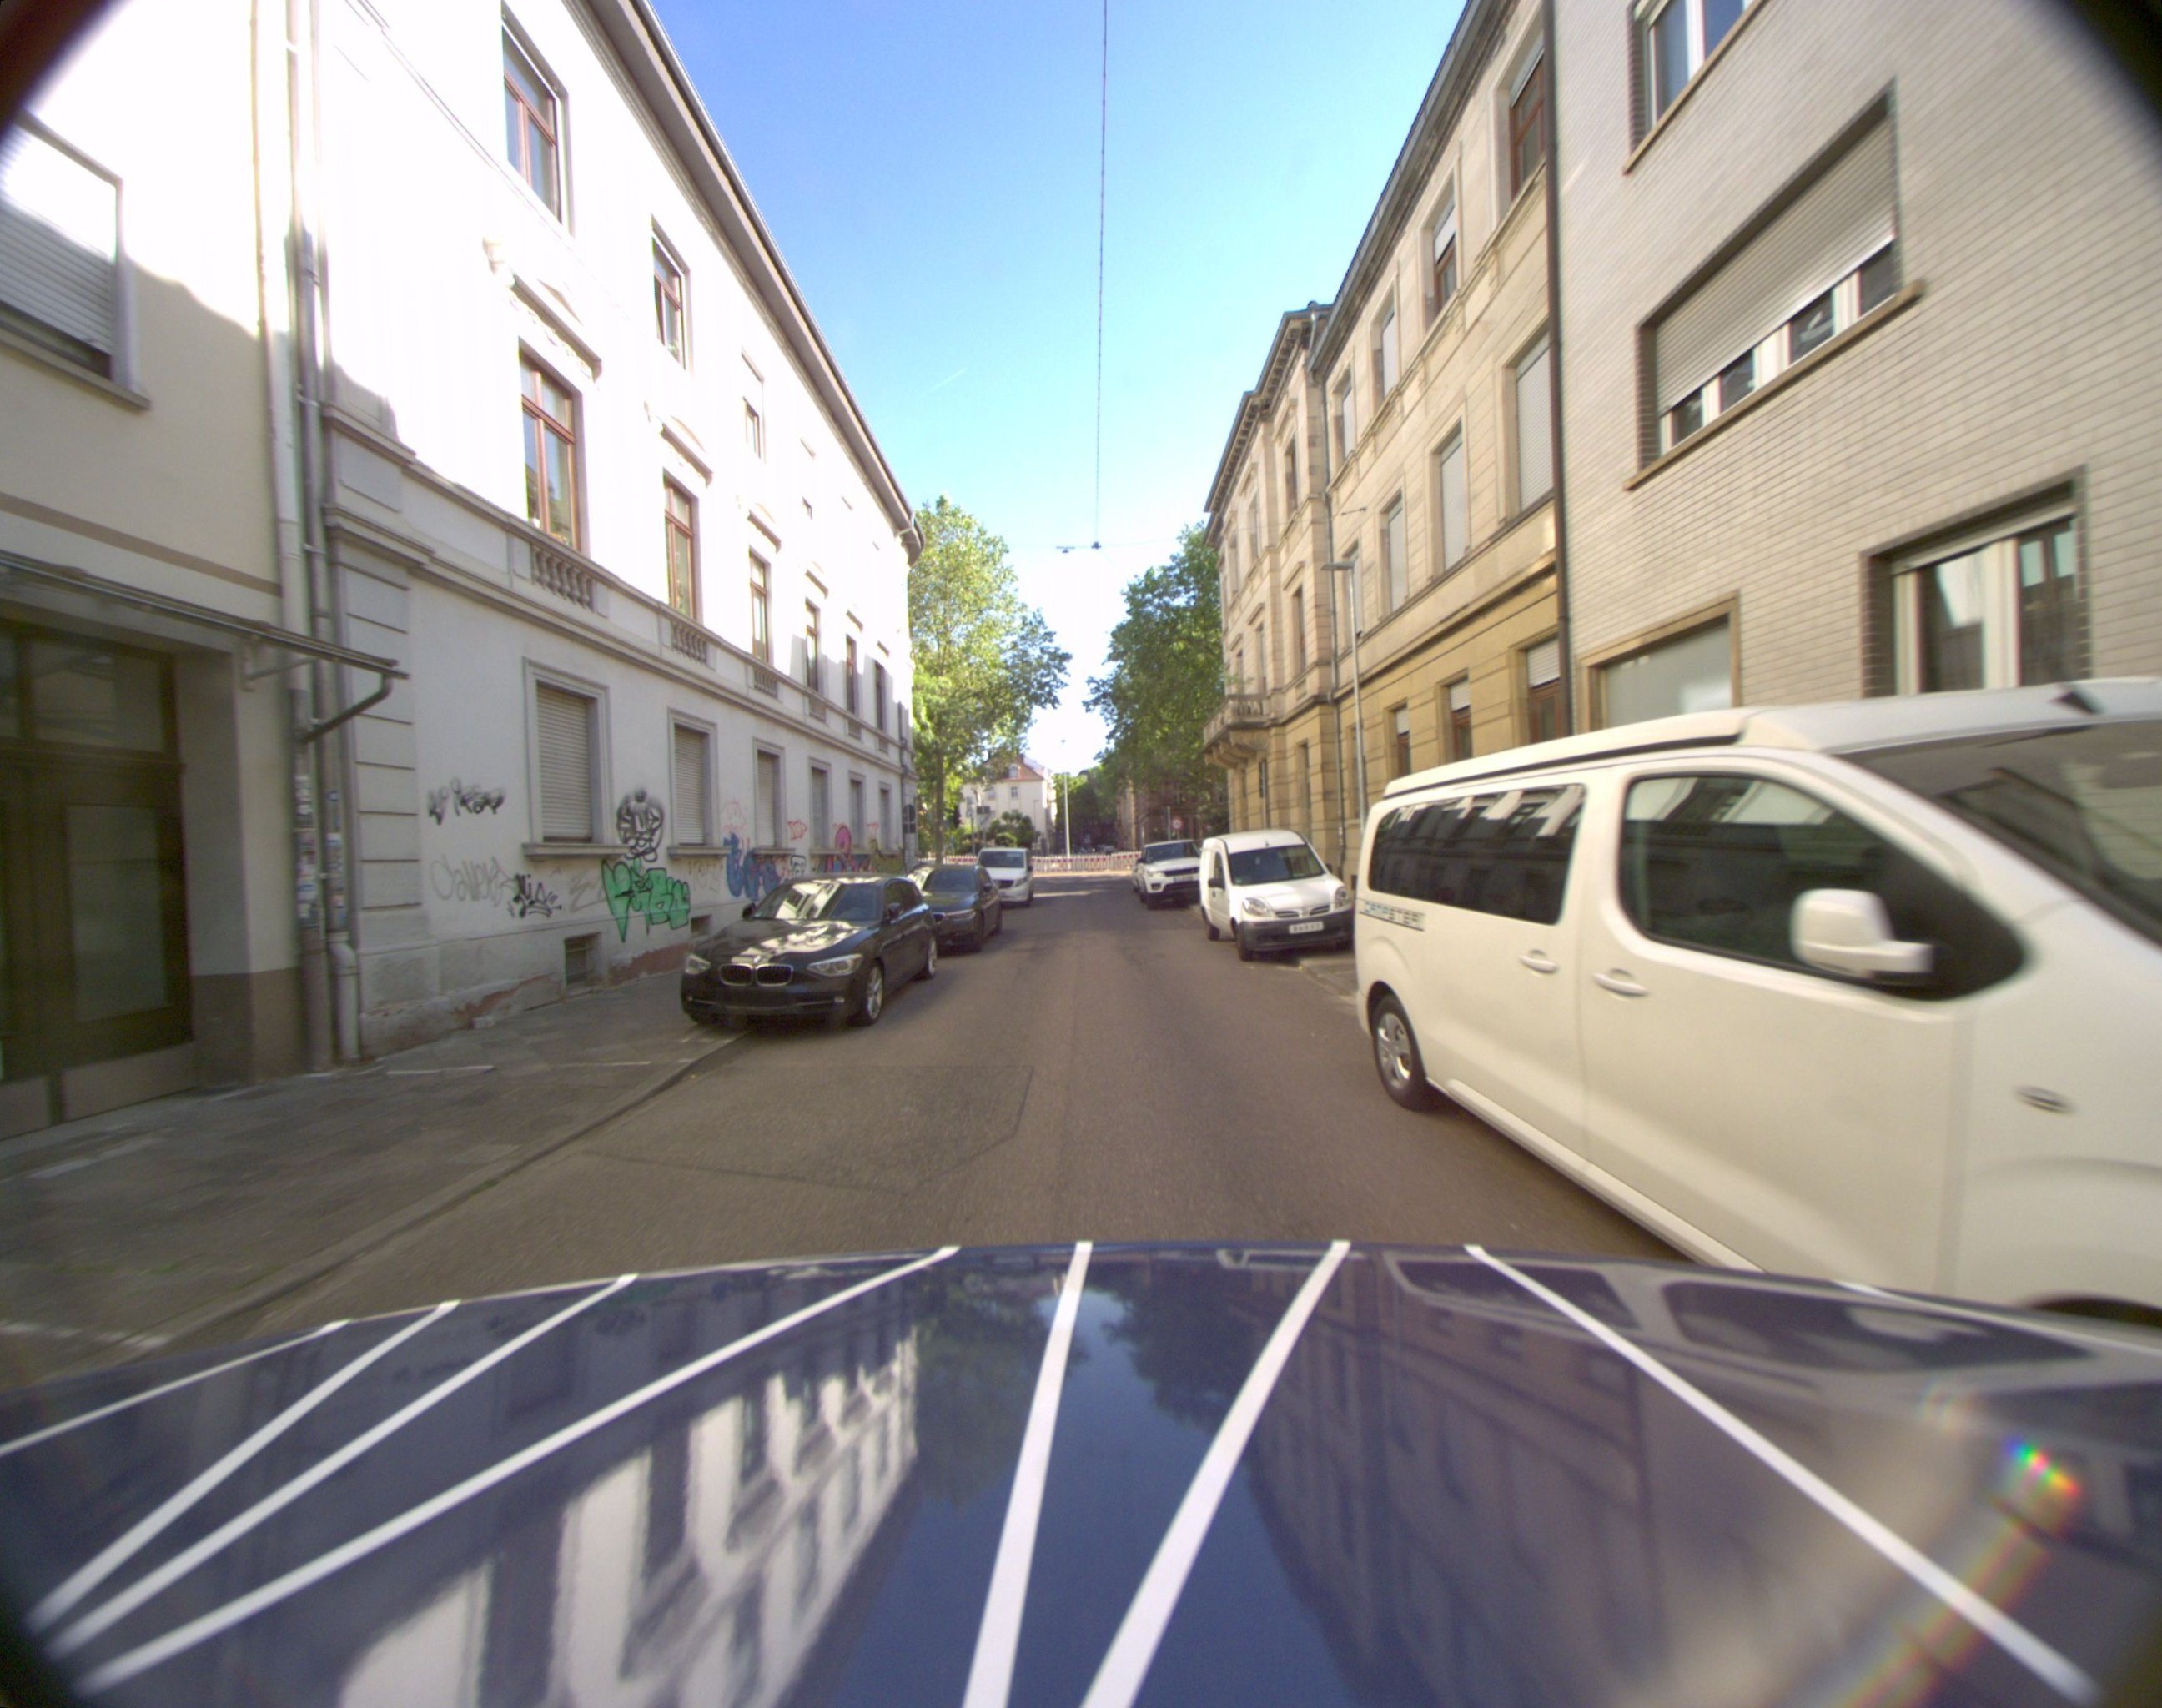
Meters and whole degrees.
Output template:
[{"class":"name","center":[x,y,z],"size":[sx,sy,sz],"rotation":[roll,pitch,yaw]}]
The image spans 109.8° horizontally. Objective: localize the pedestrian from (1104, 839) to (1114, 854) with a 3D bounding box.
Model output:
[{"class":"pedestrian","center":[3.222,-0.852,86.405],"size":[0.761,1.651,0.826],"rotation":[-2,1,-27]}]

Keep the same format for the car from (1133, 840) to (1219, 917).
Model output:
[{"class":"car","center":[2.688,0.623,22.528],"size":[2.027,2.002,4.543],"rotation":[-2,1,1]}]

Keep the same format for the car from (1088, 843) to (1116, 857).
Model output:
[{"class":"car","center":[2.842,-0.571,102.689],"size":[3.800,1.726,1.622],"rotation":[-1,0,0]}]

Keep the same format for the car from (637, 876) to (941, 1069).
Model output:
[{"class":"car","center":[-2.844,1.068,8.413],"size":[1.751,1.440,3.869],"rotation":[-4,0,1]}]

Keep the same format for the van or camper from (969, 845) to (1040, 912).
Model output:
[{"class":"van or camper","center":[-2.458,0.743,25.656],"size":[1.899,2.002,5.030],"rotation":[-2,0,-1]}]

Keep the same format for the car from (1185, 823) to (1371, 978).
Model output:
[{"class":"car","center":[2.833,0.609,11.904],"size":[1.748,1.865,4.090],"rotation":[-5,0,1]}]

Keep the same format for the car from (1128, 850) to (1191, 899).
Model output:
[{"class":"car","center":[2.921,0.723,29.040],"size":[1.872,1.552,3.941],"rotation":[-4,1,-1]}]

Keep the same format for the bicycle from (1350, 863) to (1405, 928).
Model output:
[{"class":"bicycle","center":[5.593,0.761,14.406],"size":[0.434,1.119,1.508],"rotation":[-2,1,0]}]

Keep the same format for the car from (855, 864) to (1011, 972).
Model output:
[{"class":"car","center":[-2.507,1.021,14.099],"size":[1.819,1.510,4.727],"rotation":[-4,0,1]}]

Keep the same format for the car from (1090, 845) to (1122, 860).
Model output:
[{"class":"car","center":[2.979,-0.141,92.351],"size":[3.800,1.726,1.622],"rotation":[-1,0,0]}]

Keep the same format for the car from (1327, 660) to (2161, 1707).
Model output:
[{"class":"car","center":[2.646,0.616,2.565],"size":[1.899,1.947,4.781],"rotation":[-4,0,-1]}]
